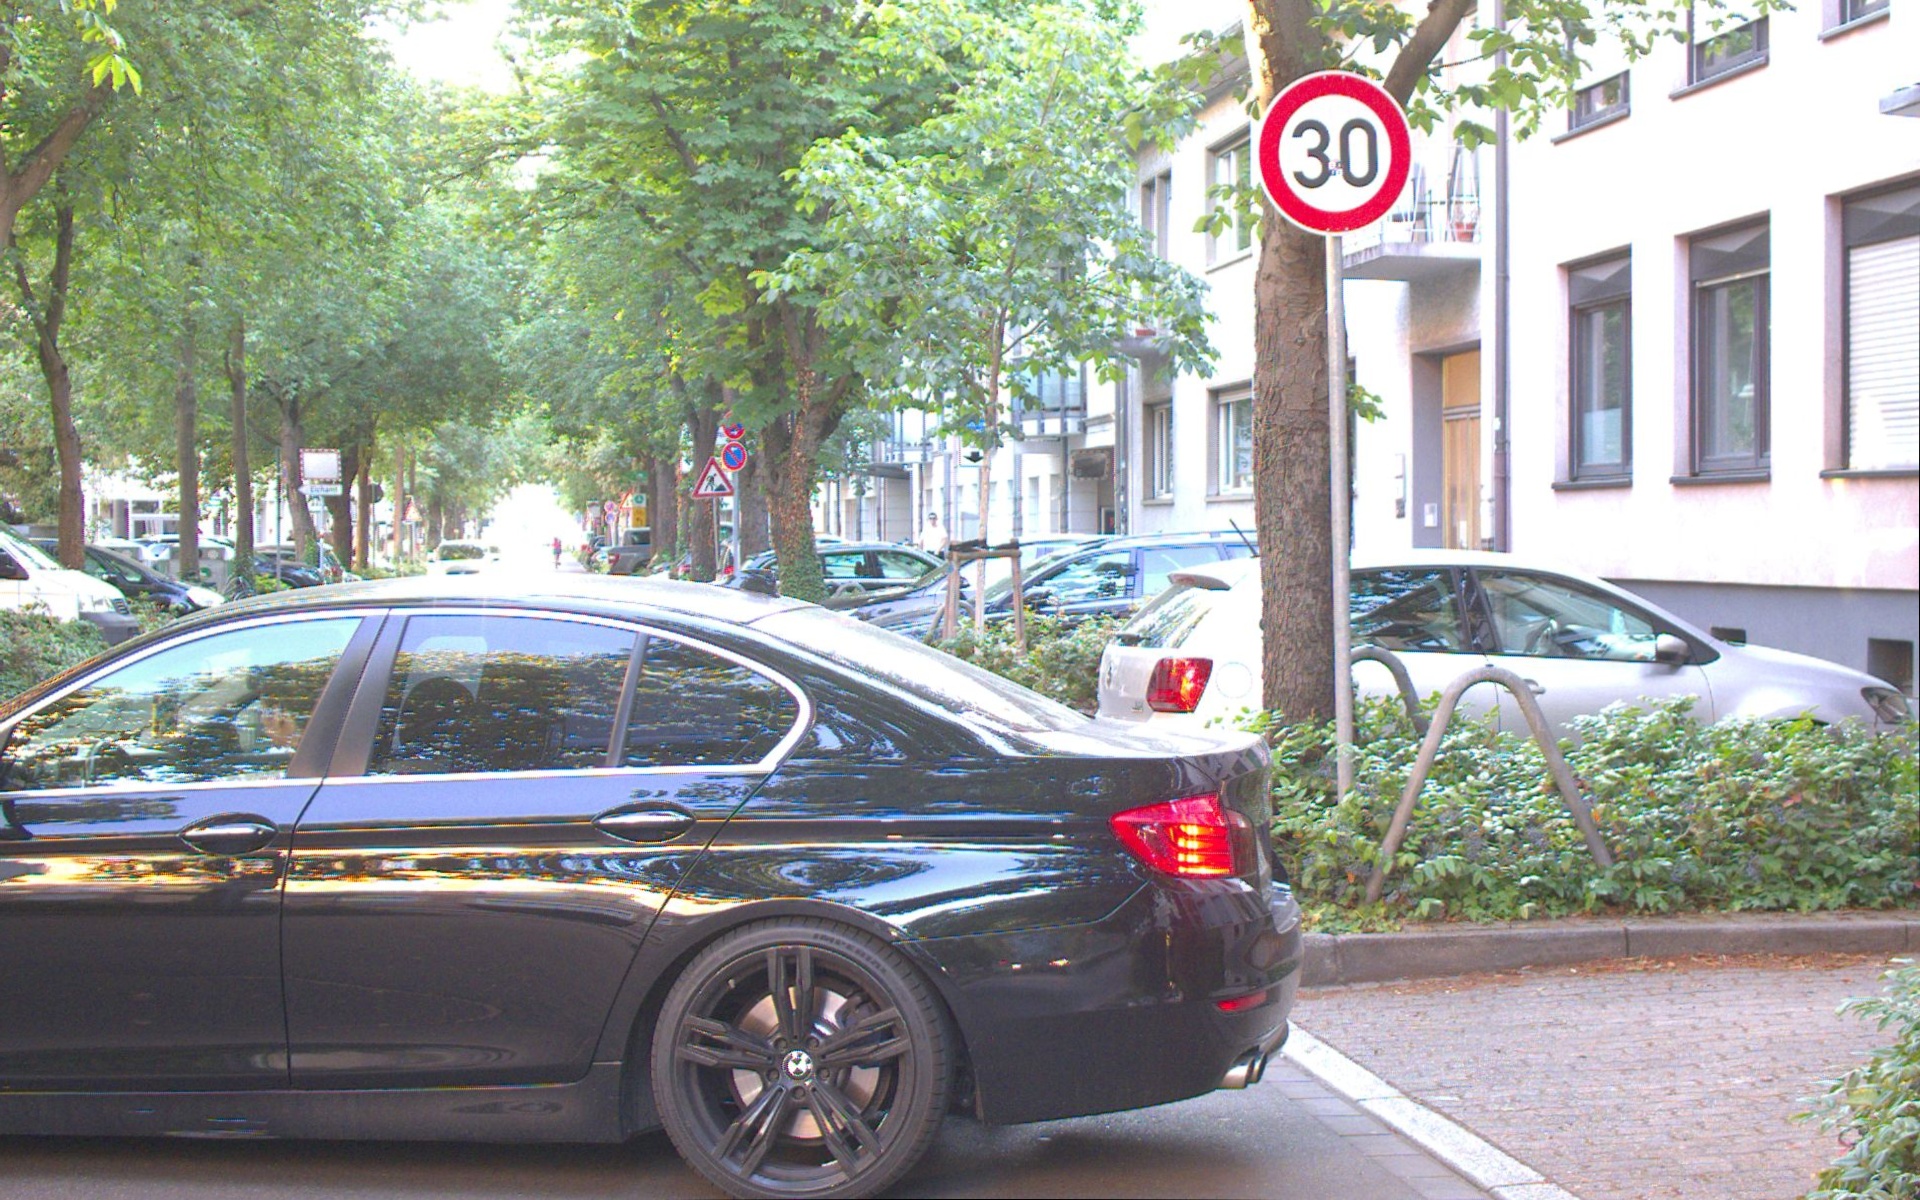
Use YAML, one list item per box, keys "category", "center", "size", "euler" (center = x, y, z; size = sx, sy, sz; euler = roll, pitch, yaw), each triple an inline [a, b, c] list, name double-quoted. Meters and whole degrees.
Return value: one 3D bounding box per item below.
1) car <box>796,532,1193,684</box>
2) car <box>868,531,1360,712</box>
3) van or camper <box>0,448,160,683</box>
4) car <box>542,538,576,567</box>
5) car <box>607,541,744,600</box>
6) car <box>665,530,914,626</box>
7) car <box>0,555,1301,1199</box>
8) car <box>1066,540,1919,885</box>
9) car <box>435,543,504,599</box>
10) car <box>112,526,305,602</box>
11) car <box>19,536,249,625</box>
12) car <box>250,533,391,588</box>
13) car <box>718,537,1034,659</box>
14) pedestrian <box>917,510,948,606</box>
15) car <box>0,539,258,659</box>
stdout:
- category: "car"
  center: [0.325, 0.061, 36.148]
  size: [3.967, 1.522, 1.785]
  euler: [-1, 1, -7]
- category: "car"
  center: [1.287, 0.159, 29.681]
  size: [3.967, 1.471, 1.785]
  euler: [-1, 1, -8]
- category: "van or camper"
  center: [-11.123, -0.378, 37.044]
  size: [4.662, 2.470, 2.000]
  euler: [0, 1, -7]
- category: "car"
  center: [-22.147, -2.643, 190.078]
  size: [1.822, 1.525, 4.001]
  euler: [-1, 1, -6]
- category: "car"
  center: [-8.341, -0.876, 100.775]
  size: [3.967, 1.678, 1.785]
  euler: [-1, 1, -5]
- category: "car"
  center: [-2.840, -0.379, 56.822]
  size: [3.967, 1.522, 1.785]
  euler: [-1, 1, -8]
- category: "car"
  center: [-1.552, 0.640, 8.588]
  size: [4.746, 1.475, 1.800]
  euler: [0, 1, 7]
- category: "car"
  center: [2.569, 0.471, 16.073]
  size: [3.908, 1.471, 1.665]
  euler: [-1, 1, -8]
- category: "car"
  center: [-14.028, -0.846, 98.479]
  size: [1.779, 1.557, 4.169]
  euler: [0, 1, -6]
- category: "car"
  center: [-16.622, -0.807, 76.144]
  size: [3.967, 1.614, 1.785]
  euler: [-1, 1, -5]
- category: "car"
  center: [-15.456, -0.372, 64.508]
  size: [3.967, 1.614, 1.785]
  euler: [-1, 1, -5]
- category: "car"
  center: [-19.058, -1.188, 102.512]
  size: [3.967, 1.614, 1.785]
  euler: [-1, 1, -5]
- category: "car"
  center: [-1.125, -0.050, 44.958]
  size: [3.967, 1.522, 1.785]
  euler: [-1, 1, -7]
- category: "pedestrian"
  center: [-0.572, -0.880, 71.712]
  size: [0.589, 2.007, 0.669]
  euler: [0, 1, -5]
- category: "car"
  center: [-11.919, -0.032, 48.042]
  size: [3.967, 1.614, 1.785]
  euler: [-1, 1, -6]
